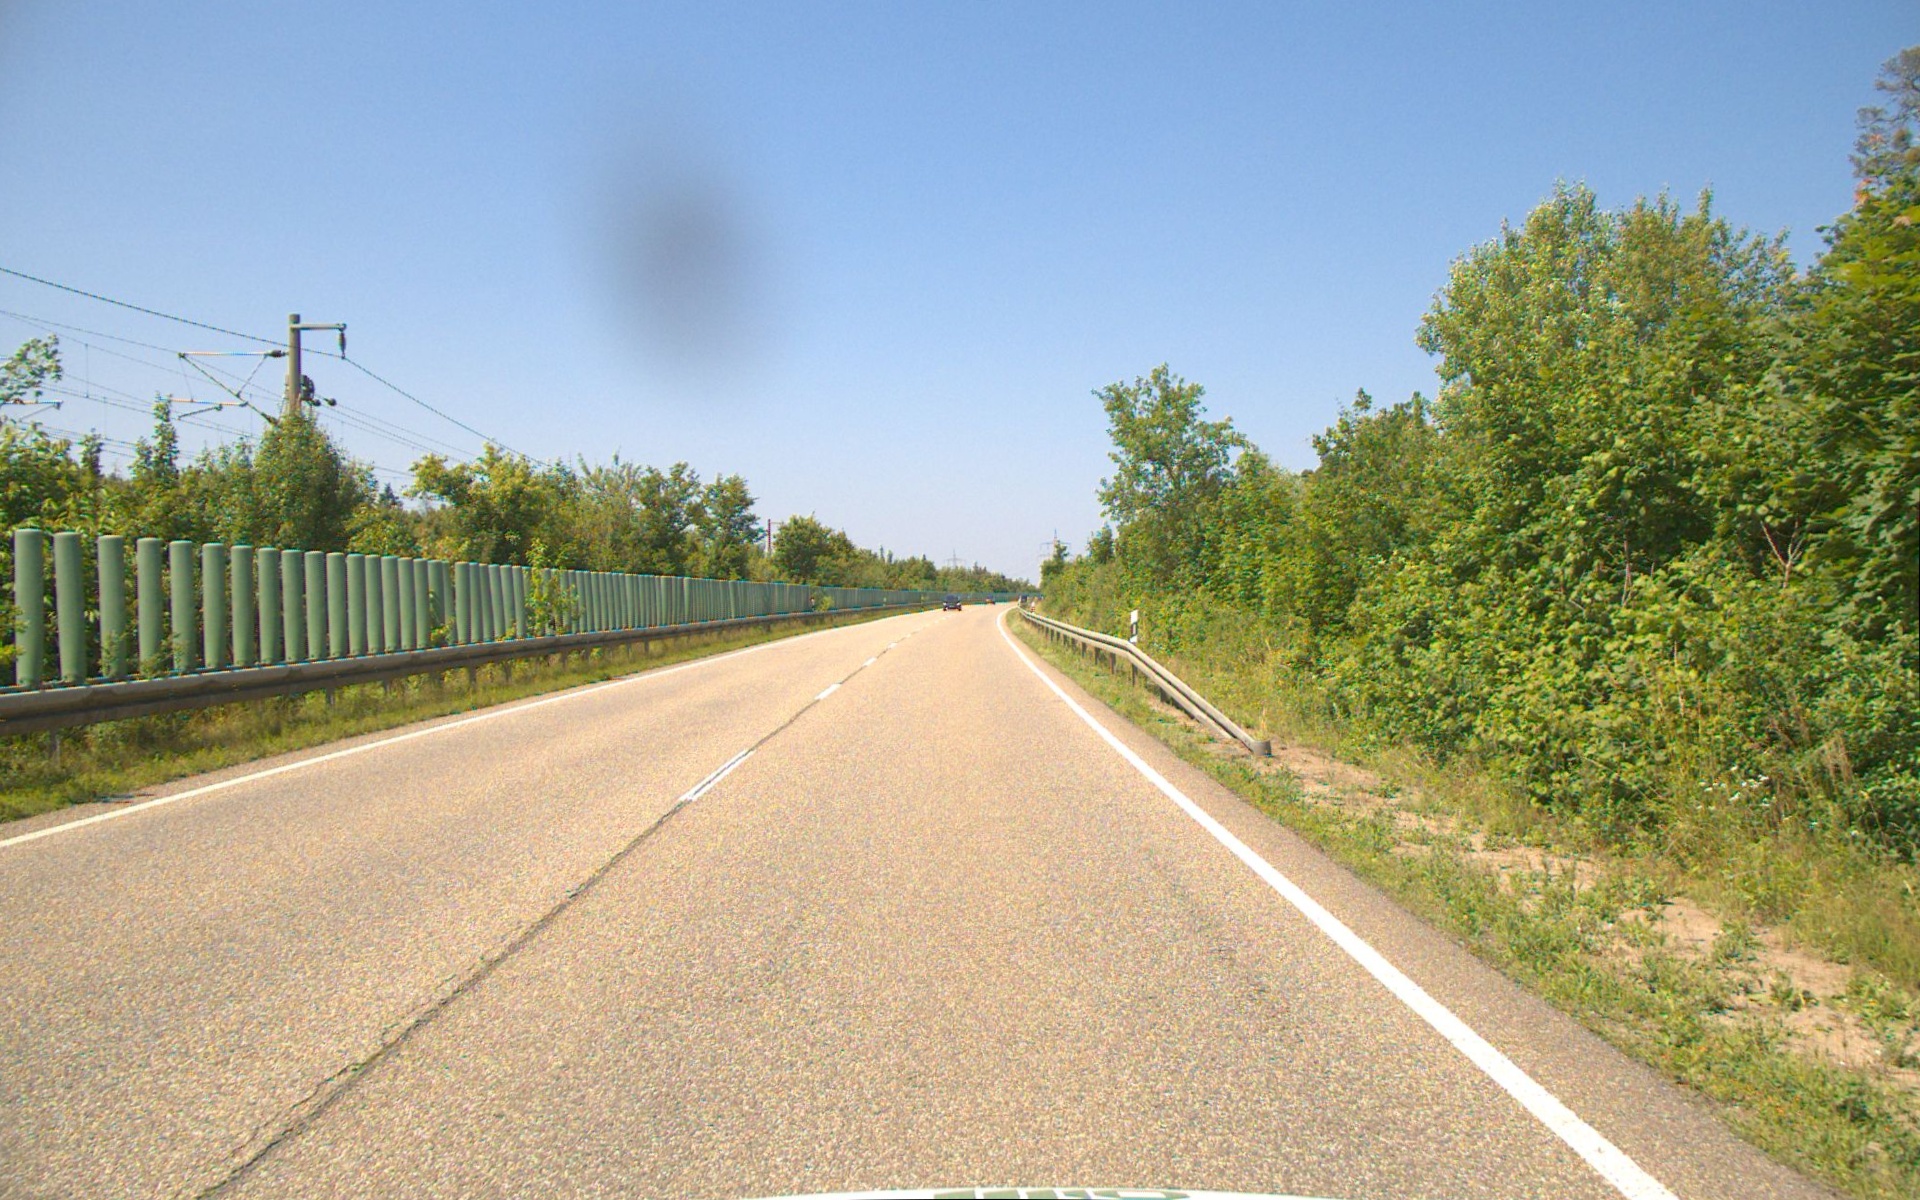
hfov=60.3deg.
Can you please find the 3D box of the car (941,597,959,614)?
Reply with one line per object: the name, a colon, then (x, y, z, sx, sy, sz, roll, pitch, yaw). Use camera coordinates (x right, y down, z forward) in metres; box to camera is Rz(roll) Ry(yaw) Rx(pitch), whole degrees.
car: (-1.008, 0.573, 166.965, 1.727, 1.669, 4.126, 0, 0, 0)
